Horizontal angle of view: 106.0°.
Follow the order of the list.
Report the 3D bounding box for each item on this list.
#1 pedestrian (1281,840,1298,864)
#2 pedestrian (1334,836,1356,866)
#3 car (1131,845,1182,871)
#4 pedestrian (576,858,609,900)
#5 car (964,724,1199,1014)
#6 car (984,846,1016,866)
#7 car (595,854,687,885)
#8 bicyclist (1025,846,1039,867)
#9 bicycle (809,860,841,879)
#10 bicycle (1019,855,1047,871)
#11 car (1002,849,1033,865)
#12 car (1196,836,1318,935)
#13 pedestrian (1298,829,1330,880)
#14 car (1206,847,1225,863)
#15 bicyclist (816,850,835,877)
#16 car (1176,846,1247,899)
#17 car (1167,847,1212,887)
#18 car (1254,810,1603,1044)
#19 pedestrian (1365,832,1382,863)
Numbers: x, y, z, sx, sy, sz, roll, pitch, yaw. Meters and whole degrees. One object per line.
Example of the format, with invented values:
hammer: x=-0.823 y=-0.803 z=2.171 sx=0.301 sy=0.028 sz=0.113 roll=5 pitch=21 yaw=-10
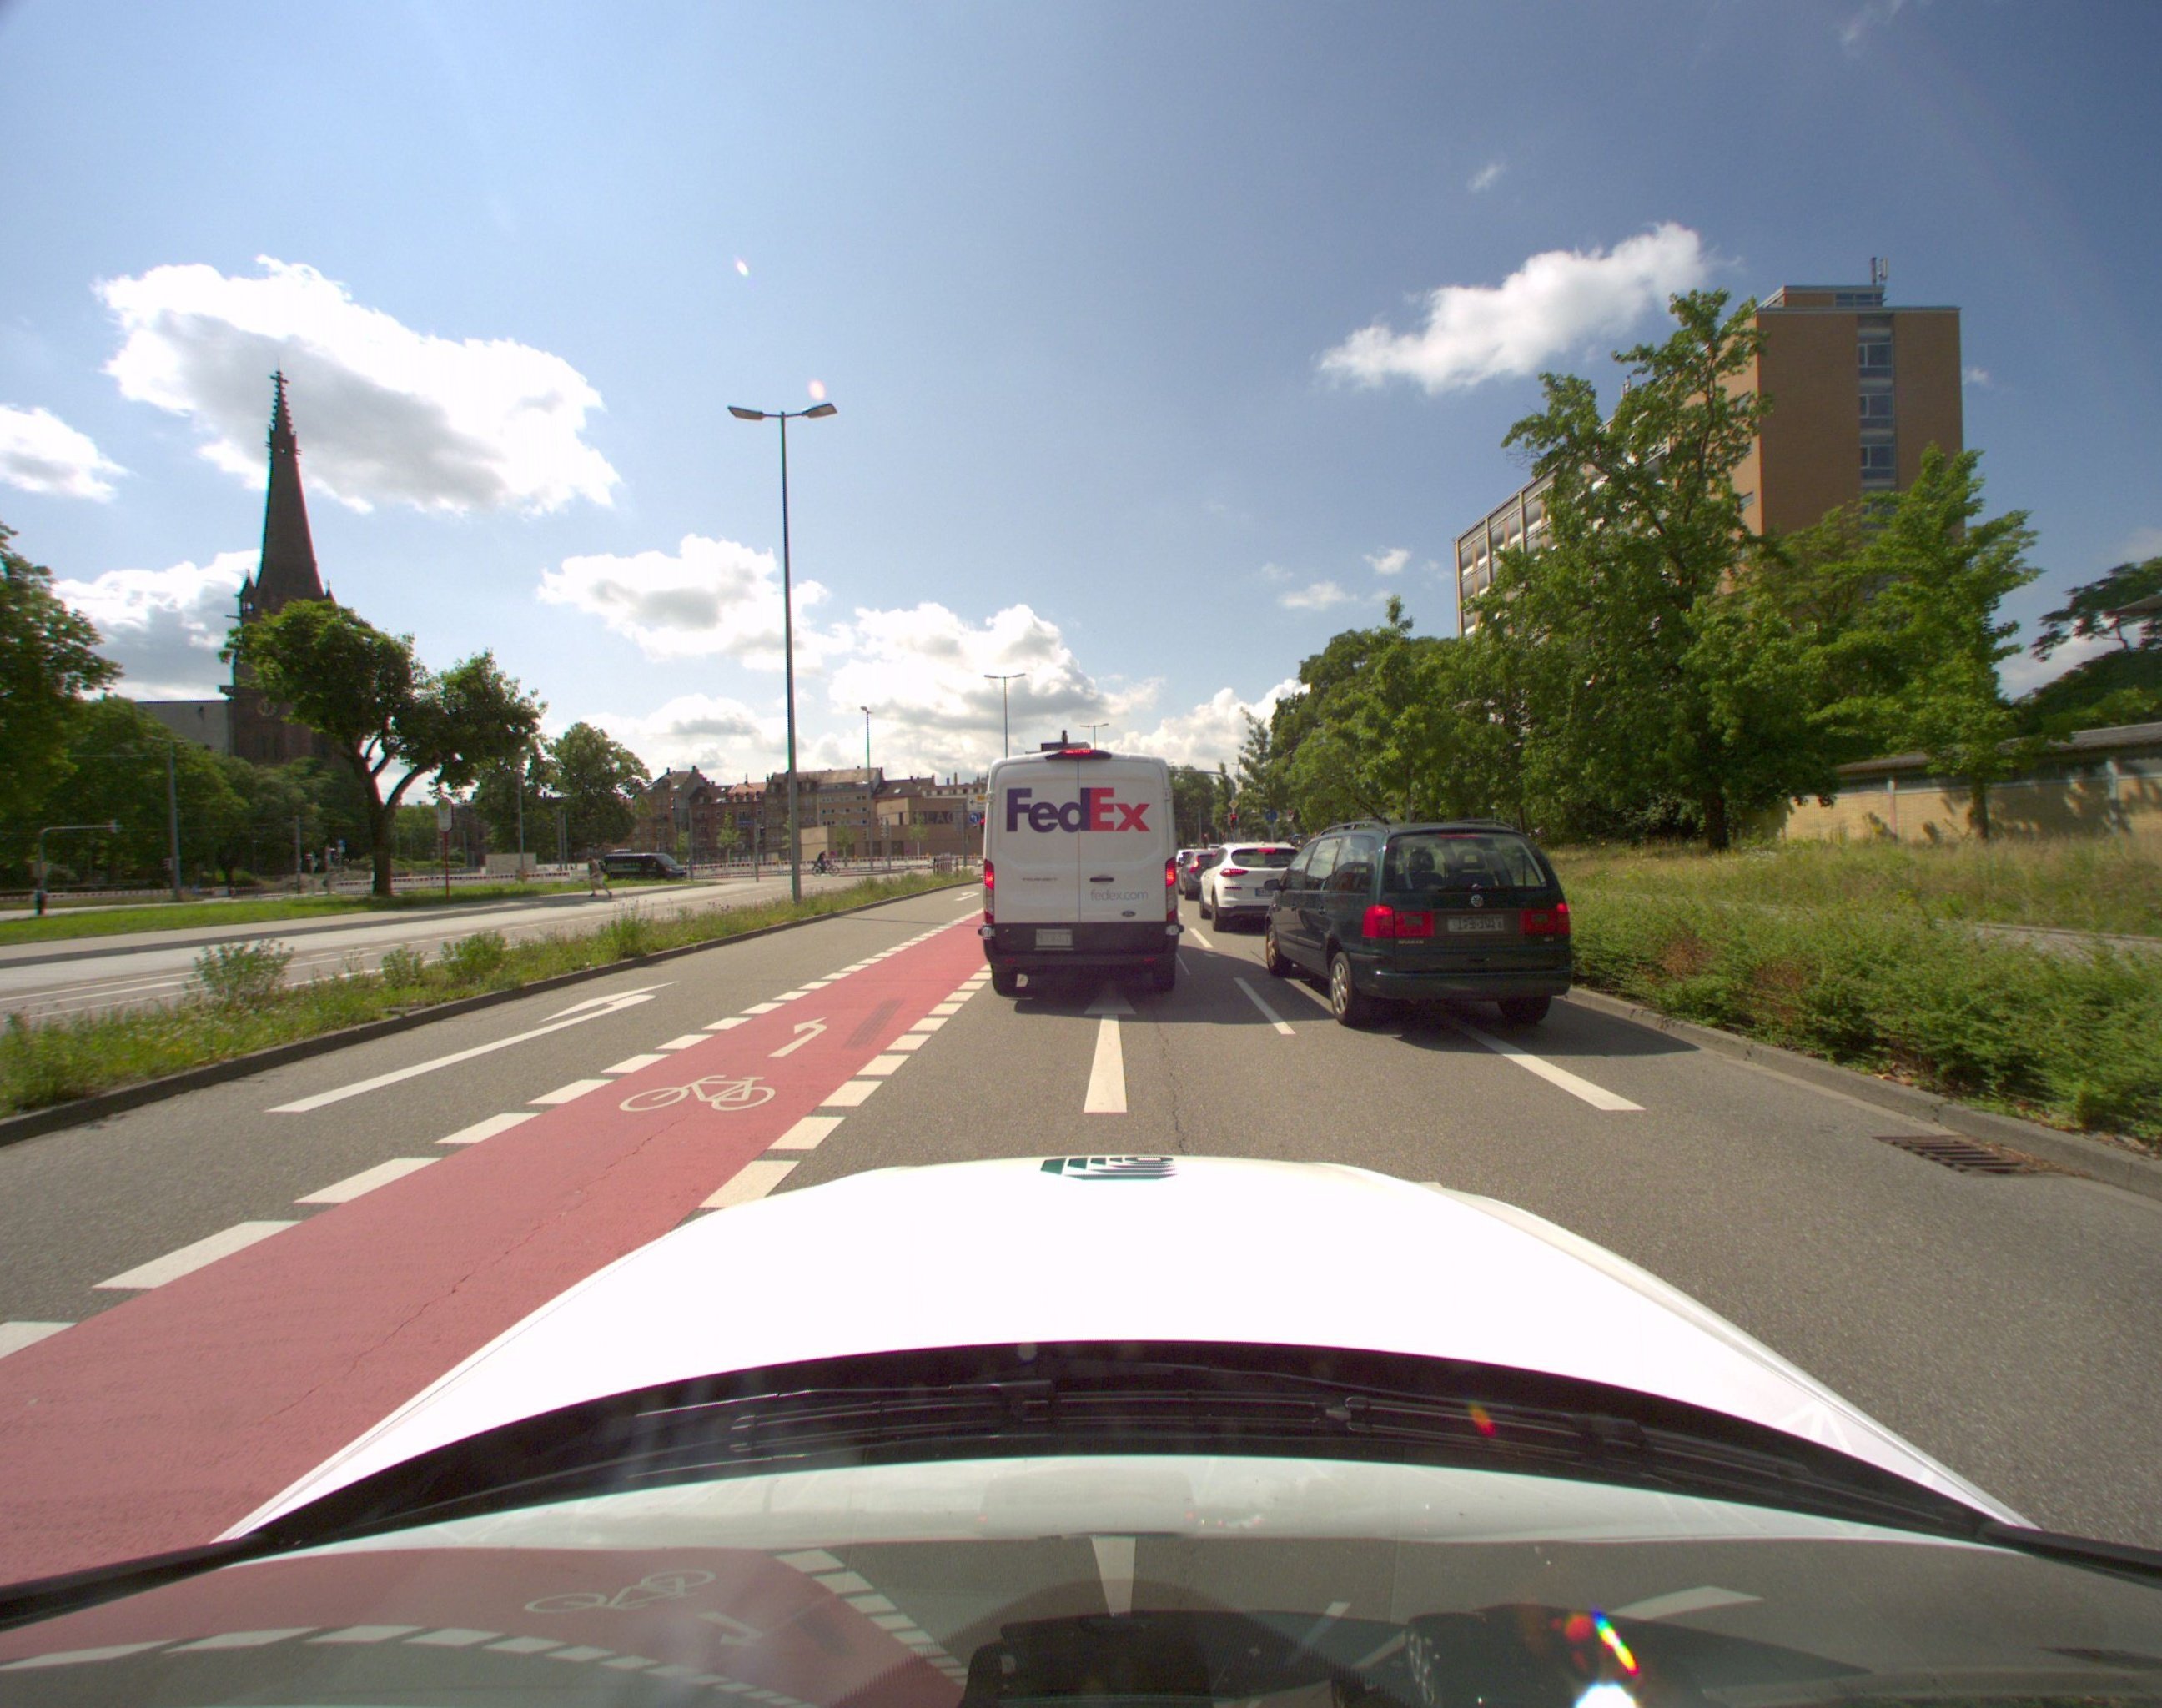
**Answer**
pedestrian: x=12.540 y=-0.114 z=49.003 sx=0.842 sy=1.389 sz=0.741 roll=-2 pitch=0 yaw=1
pedestrian: x=13.650 y=-0.169 z=42.176 sx=0.842 sy=1.539 sz=0.835 roll=-2 pitch=0 yaw=1
car: x=6.534 y=0.330 z=70.072 sx=2.072 sy=2.013 sz=4.673 roll=-2 pitch=0 yaw=39
pedestrian: x=-18.565 y=0.942 z=30.960 sx=0.548 sy=1.560 sz=0.881 roll=-2 pitch=0 yaw=34
car: x=-0.087 y=0.121 z=10.449 sx=2.135 sy=2.652 sz=5.699 roll=-1 pitch=0 yaw=-2
car: x=-8.681 y=0.225 z=87.238 sx=1.978 sy=2.013 sz=4.017 roll=-2 pitch=0 yaw=16
car: x=-29.335 y=1.022 z=54.420 sx=4.995 sy=1.878 sz=1.928 roll=-2 pitch=1 yaw=-2
bicyclist: x=-3.490 y=0.162 z=57.866 sx=0.966 sy=1.474 sz=0.550 roll=-2 pitch=0 yaw=-6
bicycle: x=-18.136 y=1.091 z=57.778 sx=2.060 sy=1.290 sz=0.603 roll=-2 pitch=0 yaw=-5
bicycle: x=-3.409 y=0.637 z=57.864 sx=1.917 sy=1.030 sz=0.547 roll=-2 pitch=0 yaw=-6
car: x=-6.669 y=0.325 z=85.893 sx=1.886 sy=1.585 sz=4.017 roll=-2 pitch=0 yaw=16
car: x=3.374 y=0.527 z=16.316 sx=1.790 sy=1.687 sz=4.004 roll=-2 pitch=1 yaw=4
pedestrian: x=8.874 y=0.001 z=31.060 sx=0.947 sy=1.892 sz=0.774 roll=-2 pitch=0 yaw=1
car: x=15.496 y=0.096 z=93.543 sx=1.980 sy=1.794 sz=4.385 roll=-2 pitch=0 yaw=11
bicyclist: x=-18.114 y=0.646 z=57.785 sx=1.117 sy=1.844 sz=0.592 roll=-2 pitch=1 yaw=-6
car: x=3.933 y=0.502 z=25.045 sx=1.790 sy=1.461 sz=3.842 roll=-2 pitch=1 yaw=4
car: x=4.213 y=0.453 z=31.913 sx=1.478 sy=1.428 sz=3.436 roll=-2 pitch=1 yaw=4
car: x=3.080 y=0.529 z=8.326 sx=1.805 sy=1.734 sz=4.390 roll=-1 pitch=1 yaw=2
pedestrian: x=20.307 y=-0.455 z=56.550 sx=0.739 sy=2.057 sz=0.843 roll=-2 pitch=0 yaw=-15
